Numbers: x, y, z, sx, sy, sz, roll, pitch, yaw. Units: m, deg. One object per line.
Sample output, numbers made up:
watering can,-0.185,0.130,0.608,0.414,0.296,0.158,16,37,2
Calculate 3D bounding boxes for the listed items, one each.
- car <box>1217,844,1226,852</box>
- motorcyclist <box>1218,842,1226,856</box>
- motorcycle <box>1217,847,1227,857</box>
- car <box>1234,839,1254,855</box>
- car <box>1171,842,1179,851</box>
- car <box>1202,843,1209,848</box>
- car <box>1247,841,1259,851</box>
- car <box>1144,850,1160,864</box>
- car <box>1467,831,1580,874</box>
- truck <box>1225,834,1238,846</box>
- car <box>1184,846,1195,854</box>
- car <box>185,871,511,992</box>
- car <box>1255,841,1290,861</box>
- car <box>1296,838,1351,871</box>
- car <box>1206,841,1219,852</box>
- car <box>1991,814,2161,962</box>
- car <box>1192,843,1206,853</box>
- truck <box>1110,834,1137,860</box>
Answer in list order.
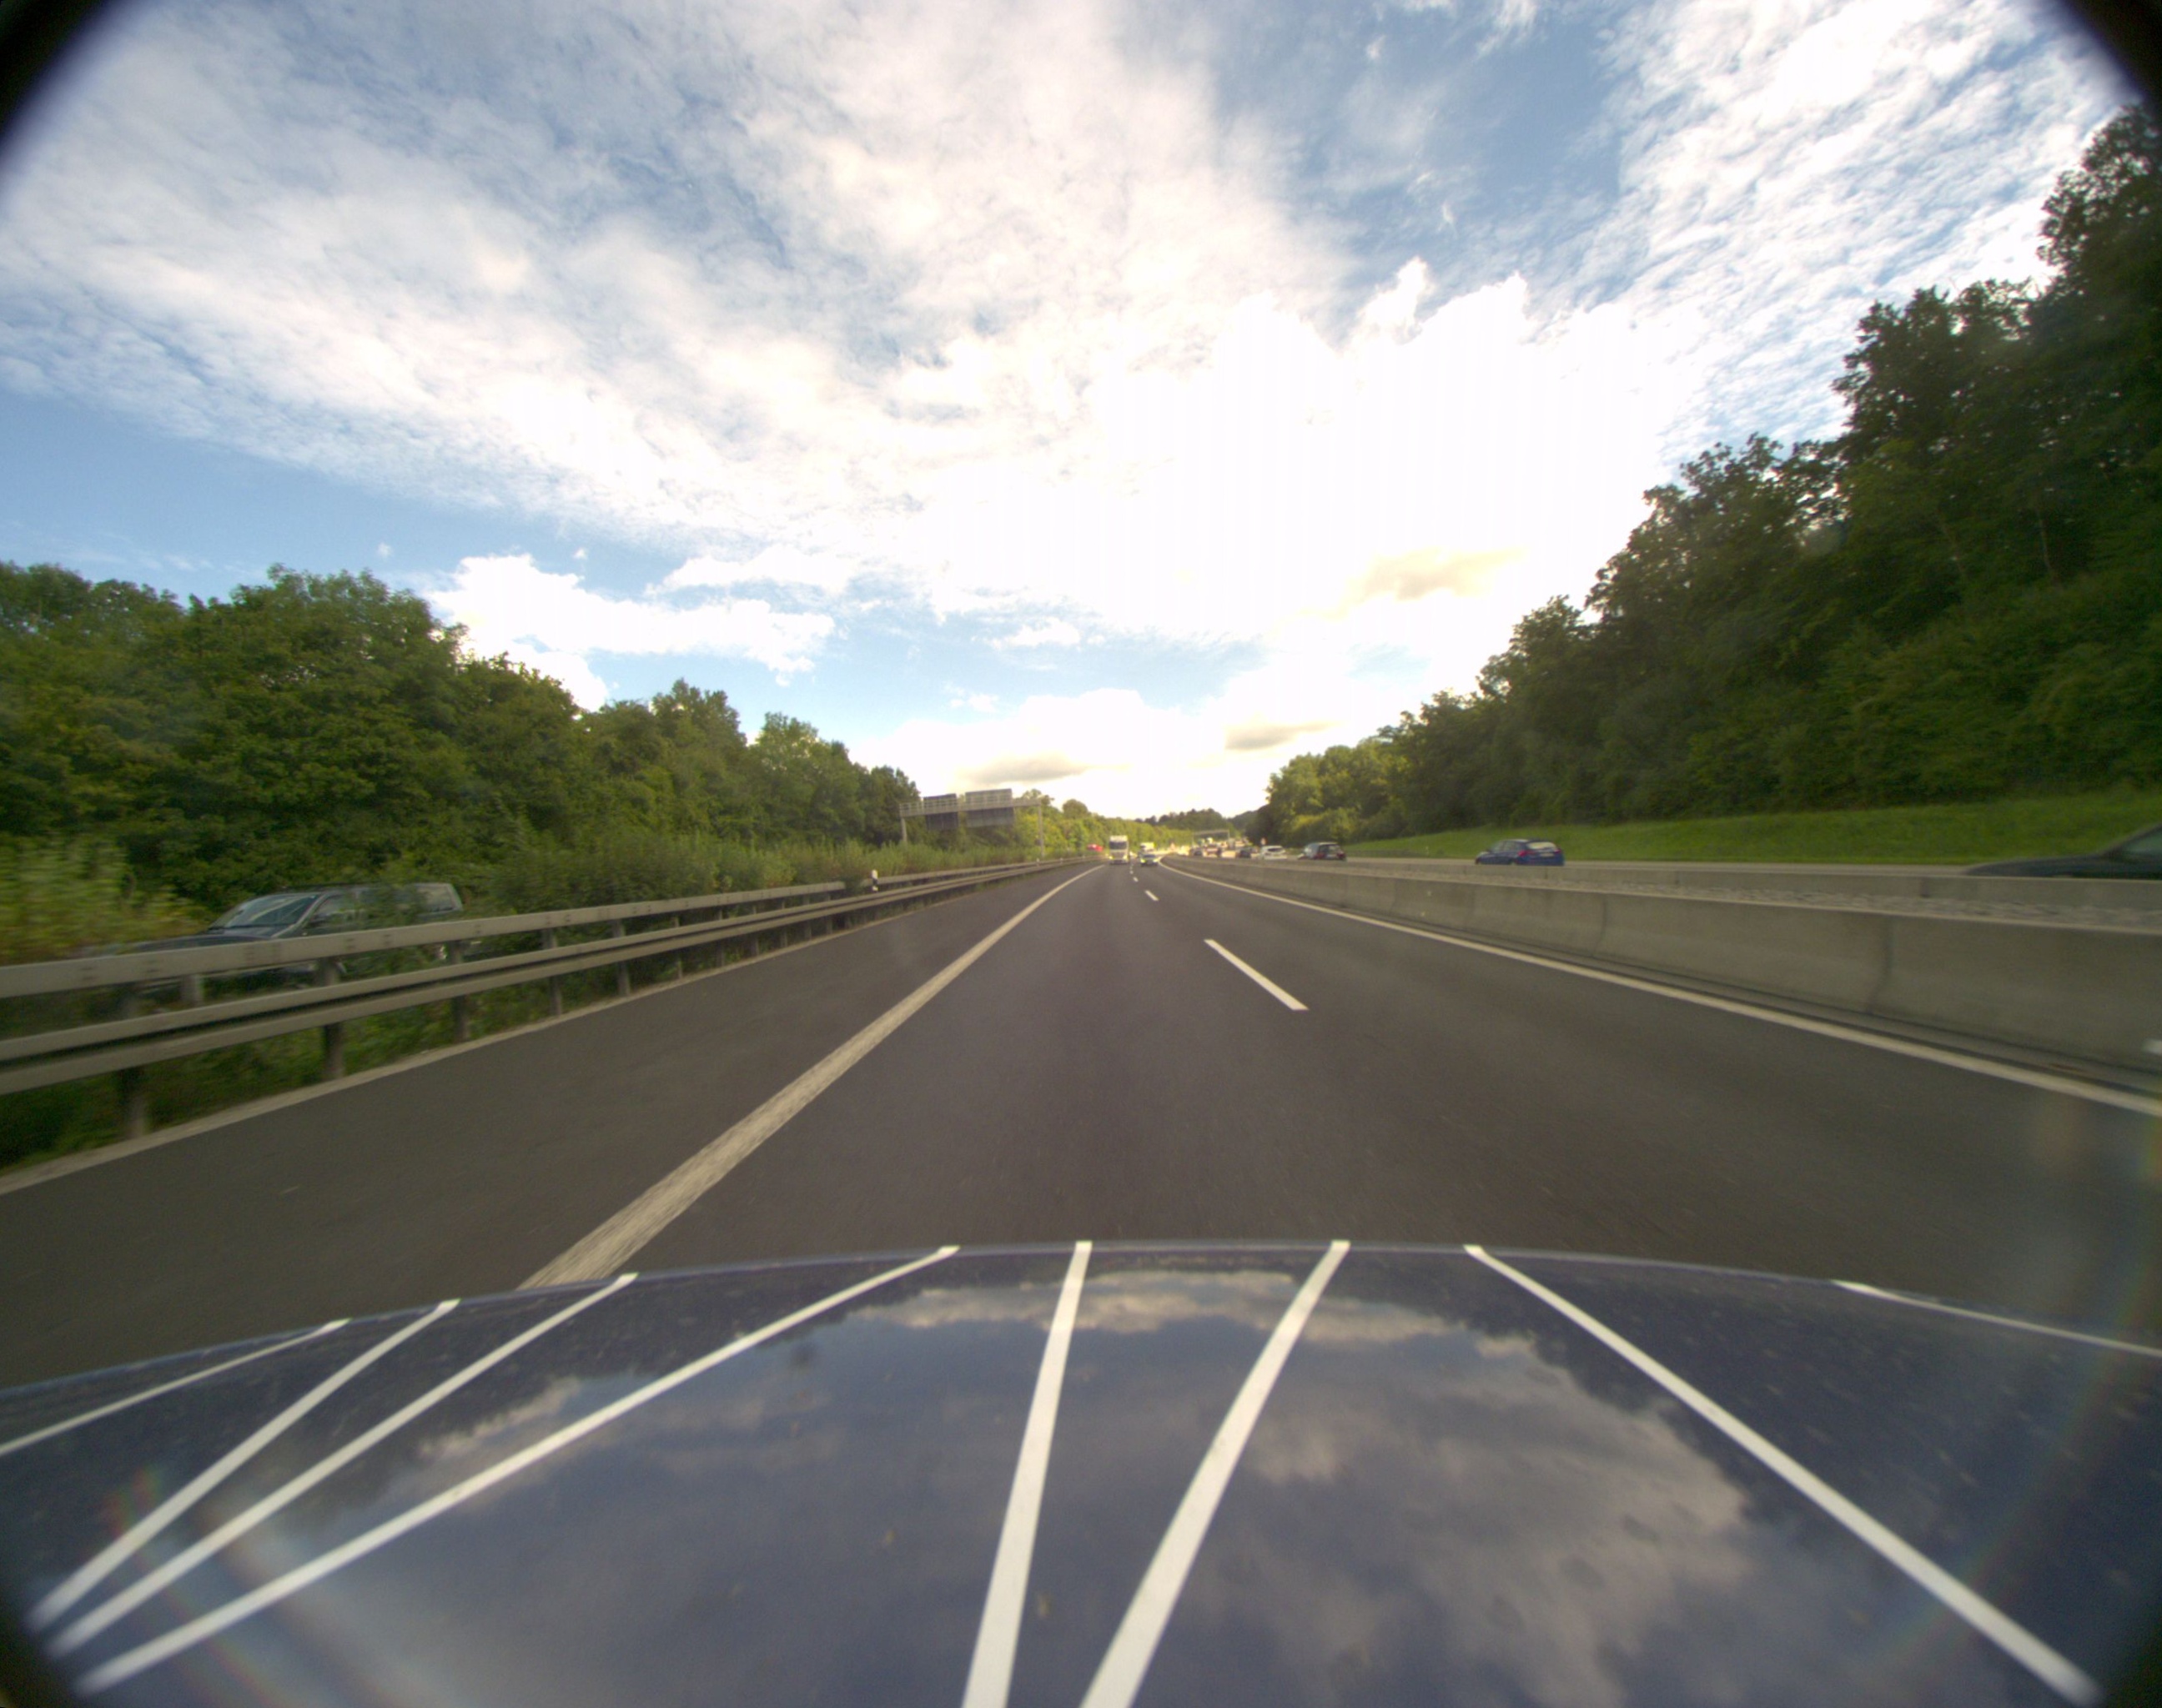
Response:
car,38.802,-1.718,209.591,1.997,2.022,4.002,-2,0,7
motorcyclist,17.199,-0.631,92.626,0.897,1.624,0.922,-2,1,5
motorcycle,17.228,-0.253,92.690,0.924,1.181,2.640,-2,0,6
car,21.698,-0.991,101.199,1.998,2.002,4.778,-2,1,4
car,23.329,-1.925,188.342,1.997,2.022,4.002,-2,0,7
car,41.569,-2.954,254.358,2.041,1.484,5.042,-3,1,7
car,35.270,-1.652,156.191,1.997,2.022,4.002,-2,0,7
car,8.042,0.347,85.997,1.662,1.464,4.001,-3,1,6
car,17.771,-0.072,30.841,1.998,1.530,4.740,-2,0,3
truck,50.844,-4.773,256.861,3.457,4.103,13.684,-2,1,7
car,22.915,-0.818,160.668,1.987,1.501,5.962,-3,0,5
car,-15.302,1.481,16.392,1.998,2.002,4.910,-3,0,3
car,14.921,-0.241,59.345,1.764,1.452,4.296,-2,0,3
car,13.581,0.005,42.756,1.880,1.687,4.315,-2,0,3
car,28.240,-1.632,163.217,2.205,2.117,8.079,-3,1,7
car,12.104,0.336,7.139,1.703,1.530,4.500,-3,0,1
car,20.475,-1.121,132.485,1.998,1.617,4.778,-2,1,4
truck,6.229,-1.077,109.522,2.795,3.562,11.463,-2,1,8
